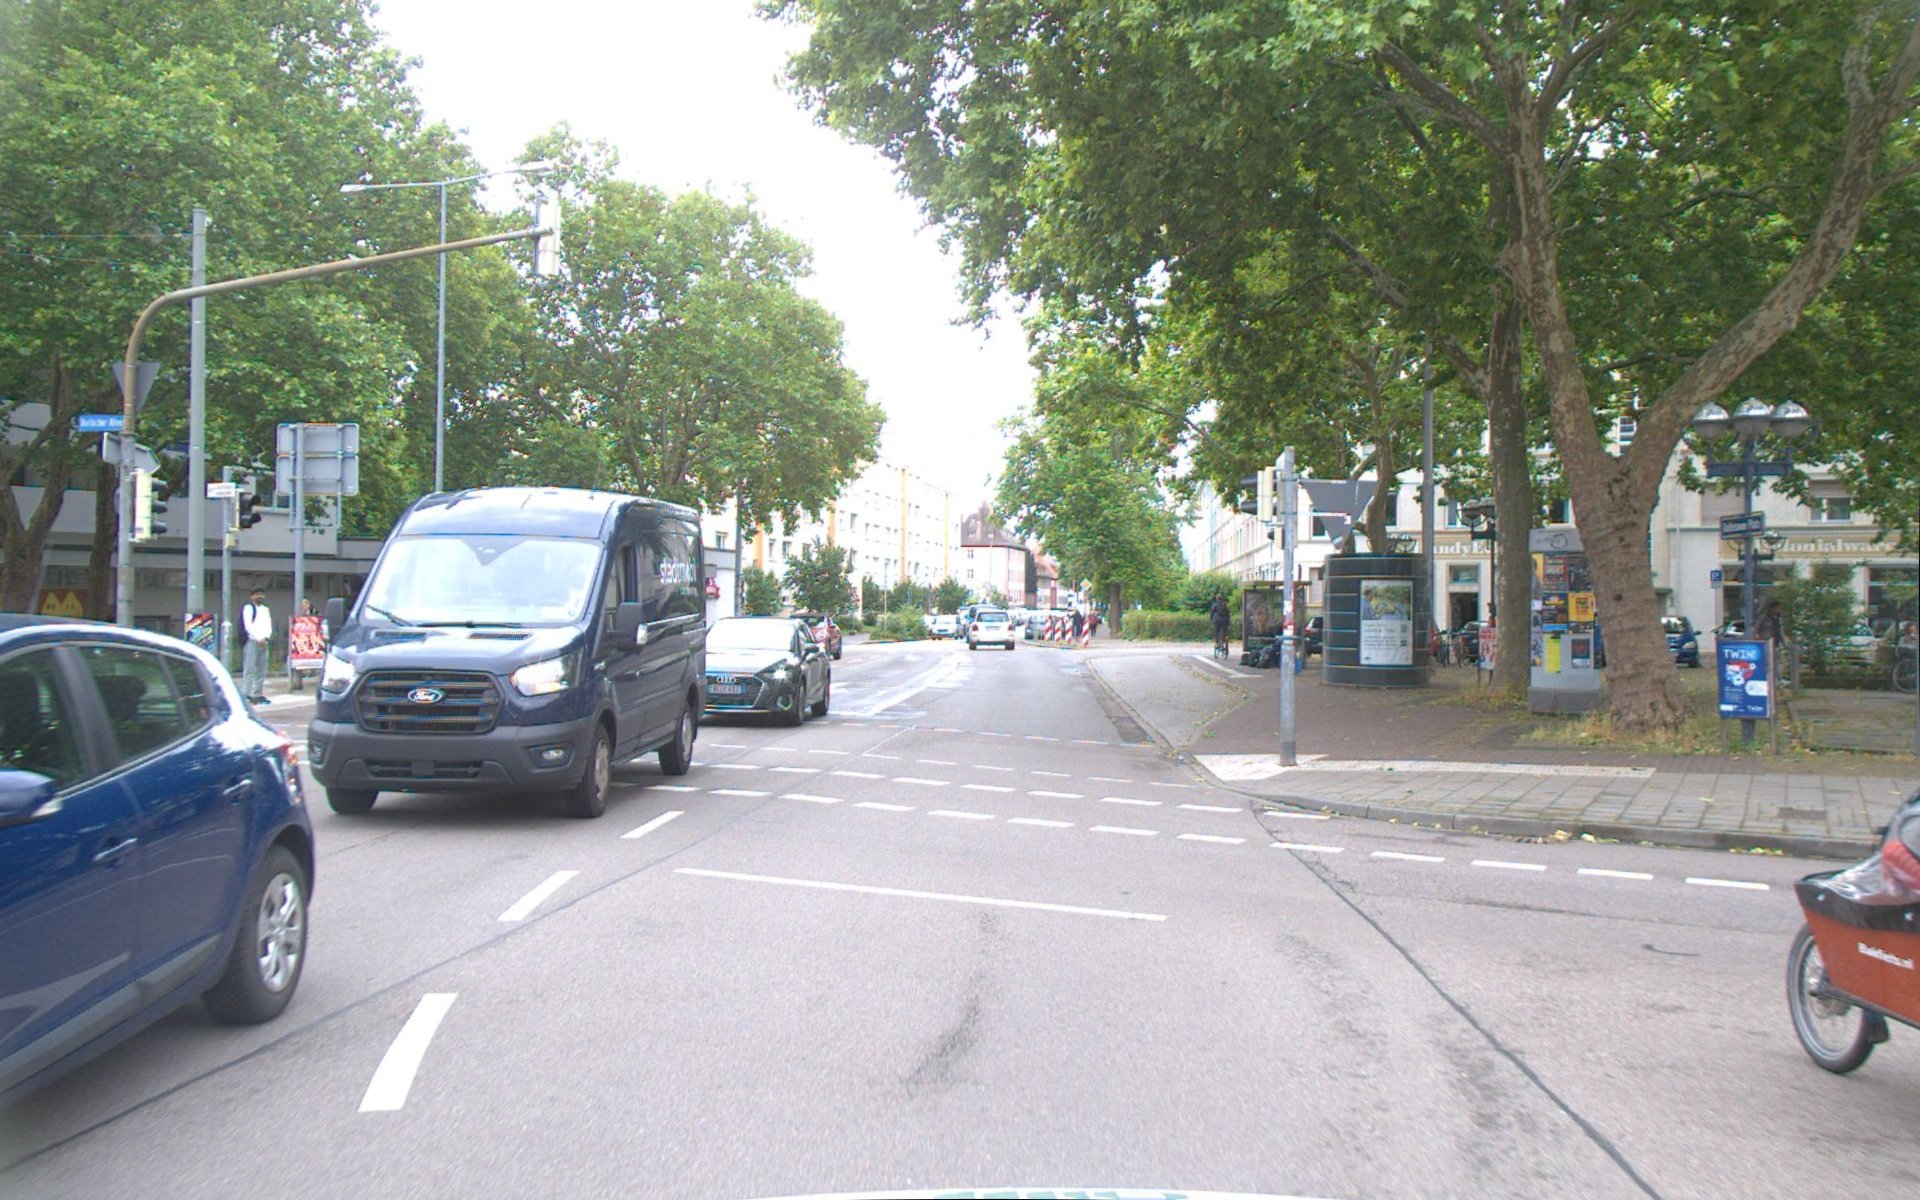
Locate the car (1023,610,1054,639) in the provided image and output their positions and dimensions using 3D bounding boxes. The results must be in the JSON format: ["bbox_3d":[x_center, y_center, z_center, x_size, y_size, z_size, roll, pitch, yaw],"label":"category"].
[{"bbox_3d":[4.597,1.434,96.447,1.777,1.620,4.001,0,0,3],"label":"car"}]

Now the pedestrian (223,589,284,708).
[{"bbox_3d":[-10.870,0.736,25.461,0.685,1.816,0.506,0,0,10],"label":"pedestrian"}]

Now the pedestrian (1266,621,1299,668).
[{"bbox_3d":[9.403,1.300,48.213,0.835,1.337,0.763,0,0,3],"label":"pedestrian"}]

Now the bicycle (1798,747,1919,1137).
[{"bbox_3d":[3.119,1.035,4.543,0.484,1.117,2.138,0,-1,-2],"label":"bicycle"}]

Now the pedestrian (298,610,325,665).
[{"bbox_3d":[-18.698,1.075,47.690,0.412,1.572,0.622,0,-1,26],"label":"pedestrian"}]

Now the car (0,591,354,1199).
[{"bbox_3d":[-3.117,0.736,4.414,1.633,1.515,3.903,0,0,-1],"label":"car"}]

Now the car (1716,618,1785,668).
[{"bbox_3d":[24.536,1.301,51.278,1.762,1.466,3.821,0,0,28],"label":"car"}]

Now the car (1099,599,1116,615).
[{"bbox_3d":[20.130,0.961,225.821,1.952,2.049,4.000,1,-1,1],"label":"car"}]

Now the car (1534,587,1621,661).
[{"bbox_3d":[19.420,0.722,51.929,2.132,2.239,3.995,0,0,27],"label":"car"}]

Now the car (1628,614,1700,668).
[{"bbox_3d":[21.927,1.239,51.451,1.762,1.570,3.821,0,0,28],"label":"car"}]

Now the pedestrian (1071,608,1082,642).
[{"bbox_3d":[5.889,1.261,83.483,0.539,1.714,0.570,0,-1,1],"label":"pedestrian"}]

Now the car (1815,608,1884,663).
[{"bbox_3d":[26.613,1.028,49.525,1.762,1.543,3.821,0,0,28],"label":"car"}]

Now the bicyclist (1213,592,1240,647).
[{"bbox_3d":[8.727,0.641,54.233,0.745,1.789,0.820,0,0,-1],"label":"bicyclist"}]

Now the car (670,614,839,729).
[{"bbox_3d":[-2.813,0.946,23.532,1.771,1.452,4.318,0,0,1],"label":"car"}]

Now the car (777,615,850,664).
[{"bbox_3d":[-4.733,1.254,53.944,1.814,1.478,4.169,0,0,3],"label":"car"}]

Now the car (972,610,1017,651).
[{"bbox_3d":[1.460,1.222,68.516,1.777,1.620,4.001,0,0,3],"label":"car"}]

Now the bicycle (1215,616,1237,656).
[{"bbox_3d":[8.690,1.174,54.079,0.409,1.264,1.926,0,0,-1],"label":"bicycle"}]

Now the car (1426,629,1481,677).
[{"bbox_3d":[16.184,1.713,54.137,1.483,1.453,4.000,0,0,20],"label":"car"}]

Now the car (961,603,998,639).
[{"bbox_3d":[1.064,1.084,88.729,1.952,1.880,4.001,0,0,1],"label":"car"}]

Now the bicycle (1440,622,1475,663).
[{"bbox_3d":[15.029,1.273,49.929,0.610,1.188,2.330,0,-1,28],"label":"bicycle"}]

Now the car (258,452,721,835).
[{"bbox_3d":[-3.466,0.285,13.561,2.090,2.494,5.580,0,0,1],"label":"car"}]

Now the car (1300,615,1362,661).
[{"bbox_3d":[12.258,1.231,54.470,1.483,1.453,4.000,0,0,20],"label":"car"}]

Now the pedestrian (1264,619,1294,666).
[{"bbox_3d":[9.477,1.259,49.152,0.800,1.396,0.763,0,0,3],"label":"pedestrian"}]

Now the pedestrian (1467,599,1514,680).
[{"bbox_3d":[11.741,0.874,36.635,0.767,1.774,0.925,0,0,1],"label":"pedestrian"}]

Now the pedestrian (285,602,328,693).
[{"bbox_3d":[-13.191,0.951,33.407,0.562,1.816,0.620,0,0,11],"label":"pedestrian"}]

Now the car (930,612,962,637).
[{"bbox_3d":[-0.836,1.526,102.910,1.730,1.512,4.002,0,0,3],"label":"car"}]

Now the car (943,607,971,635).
[{"bbox_3d":[-0.213,1.437,115.424,1.730,1.945,4.002,0,0,3],"label":"car"}]
